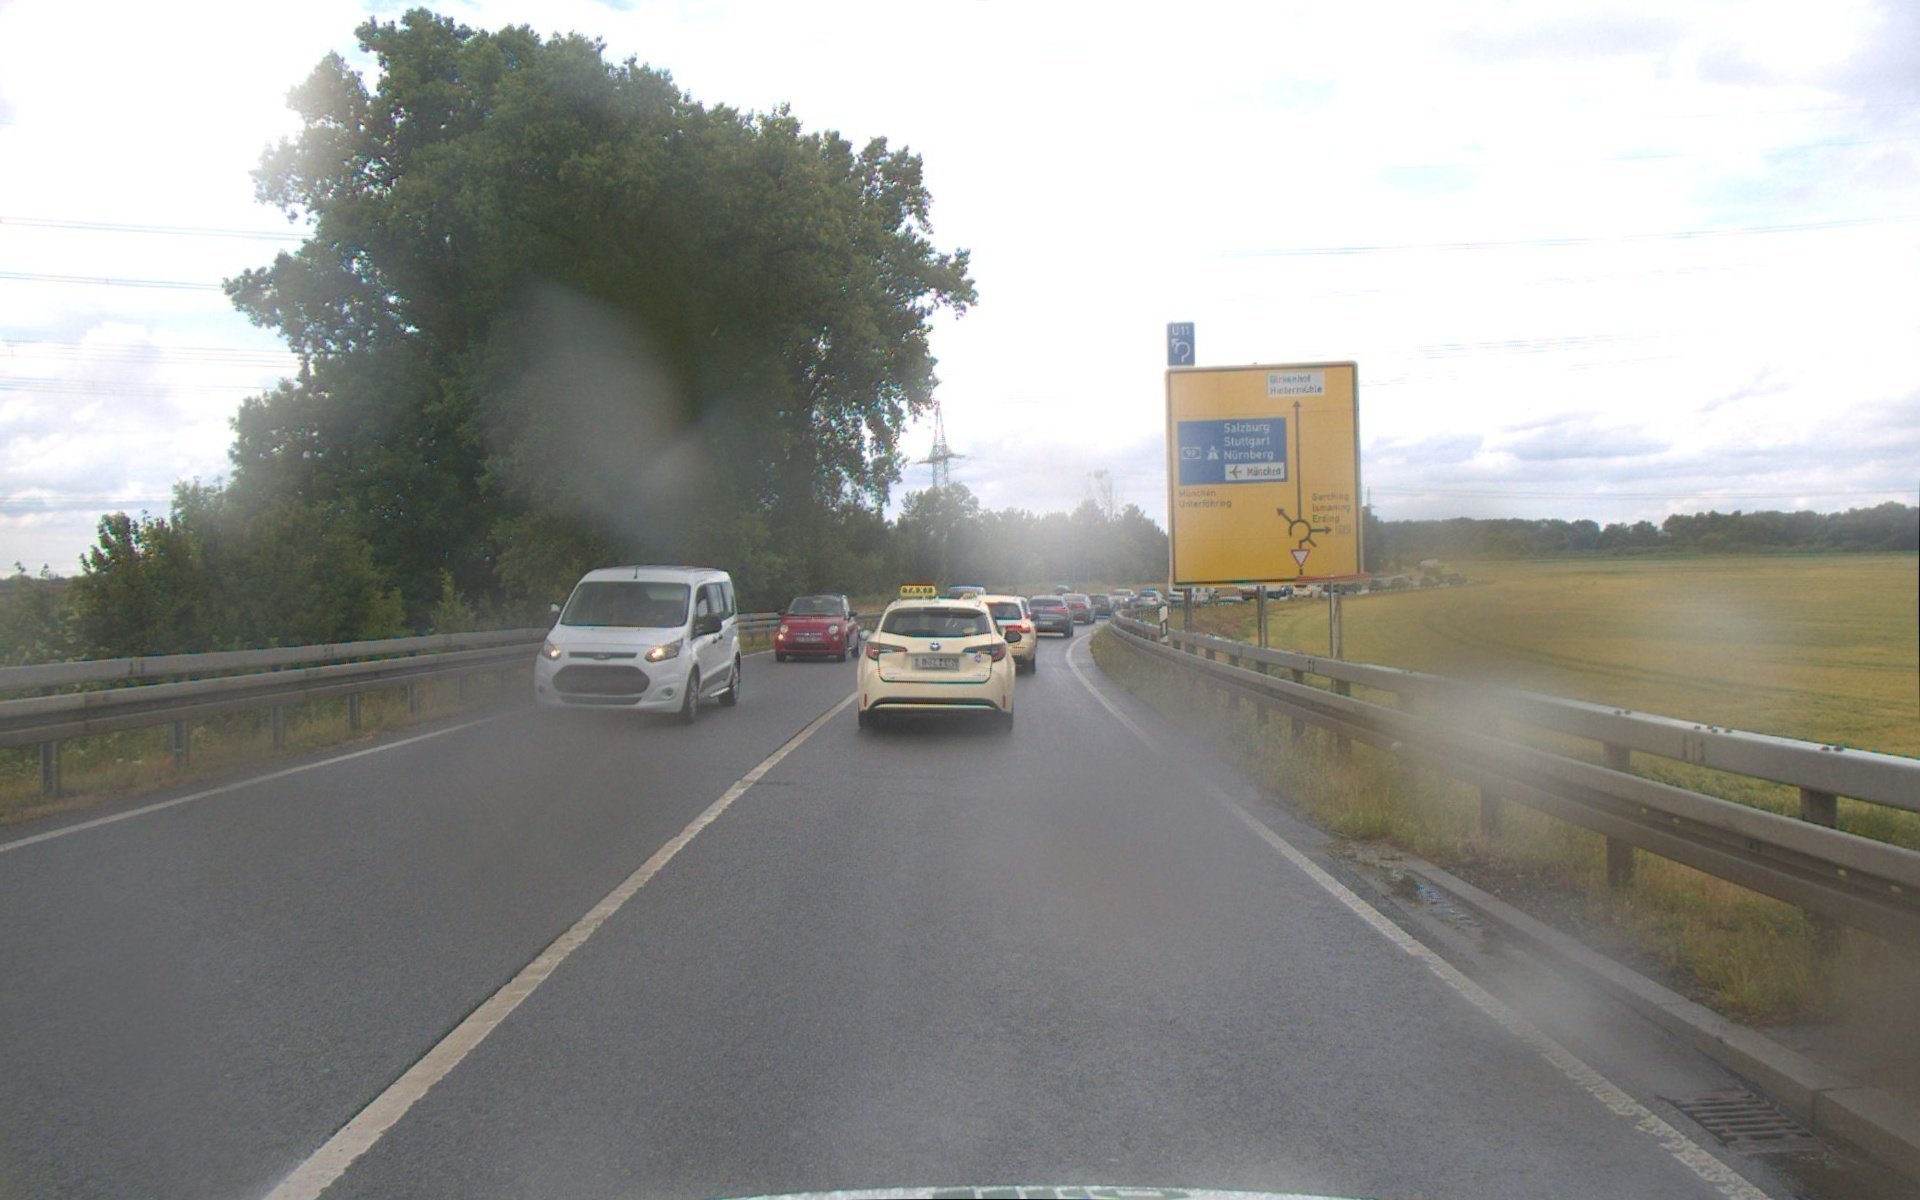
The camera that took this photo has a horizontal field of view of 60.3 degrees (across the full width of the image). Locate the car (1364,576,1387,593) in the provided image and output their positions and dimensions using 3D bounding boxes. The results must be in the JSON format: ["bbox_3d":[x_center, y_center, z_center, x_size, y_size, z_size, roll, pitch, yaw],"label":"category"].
[{"bbox_3d":[50.581,-1.896,201.362,2.181,2.049,3.998,0,-1,23],"label":"car"}]

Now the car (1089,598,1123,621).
[{"bbox_3d":[8.696,0.555,98.652,1.451,1.332,3.479,0,0,15],"label":"car"}]

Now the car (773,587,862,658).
[{"bbox_3d":[-3.219,0.479,38.010,1.576,1.512,4.001,0,1,2],"label":"car"}]

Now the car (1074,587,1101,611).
[{"bbox_3d":[9.688,-0.046,125.530,1.485,1.751,3.423,0,-1,15],"label":"car"}]

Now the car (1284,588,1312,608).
[{"bbox_3d":[36.221,-0.194,177.073,2.123,2.049,3.998,0,-1,24],"label":"car"}]

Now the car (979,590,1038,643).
[{"bbox_3d":[1.377,0.460,48.007,1.475,1.462,3.354,1,0,-2],"label":"car"}]

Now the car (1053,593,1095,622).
[{"bbox_3d":[5.832,0.394,84.382,1.625,1.434,3.907,0,-1,11],"label":"car"}]

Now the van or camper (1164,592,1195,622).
[{"bbox_3d":[17.505,0.580,131.954,1.951,2.293,4.003,0,-1,15],"label":"van or camper"}]

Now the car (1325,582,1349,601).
[{"bbox_3d":[42.740,-0.954,187.521,1.954,2.049,3.998,0,-1,24],"label":"car"}]

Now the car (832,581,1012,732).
[{"bbox_3d":[-0.335,0.598,19.422,1.866,1.564,4.162,0,0,2],"label":"car"}]

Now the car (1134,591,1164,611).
[{"bbox_3d":[13.421,0.079,117.377,1.451,1.332,3.478,0,0,17],"label":"car"}]

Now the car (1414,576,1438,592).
[{"bbox_3d":[62.170,-2.169,220.529,1.958,2.049,3.989,0,-1,32],"label":"car"}]

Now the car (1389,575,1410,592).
[{"bbox_3d":[55.788,-2.122,209.786,1.953,2.049,3.998,-1,-1,23],"label":"car"}]

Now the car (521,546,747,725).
[{"bbox_3d":[-3.823,0.360,20.167,1.823,1.925,4.490,0,1,1],"label":"car"}]

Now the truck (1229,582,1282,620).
[{"bbox_3d":[28.588,0.120,159.926,3.078,3.624,7.514,0,-1,26],"label":"truck"}]

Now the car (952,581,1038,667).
[{"bbox_3d":[0.737,0.449,32.557,1.545,1.600,3.683,0,0,3],"label":"car"}]

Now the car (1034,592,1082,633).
[{"bbox_3d":[3.645,0.453,60.929,1.630,1.490,3.479,0,0,6],"label":"car"}]

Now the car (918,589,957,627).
[{"bbox_3d":[-1.018,0.386,76.393,1.488,1.702,3.807,1,-1,3],"label":"car"}]

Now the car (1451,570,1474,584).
[{"bbox_3d":[72.719,-3.360,239.382,1.735,2.049,3.978,0,1,41],"label":"car"}]
